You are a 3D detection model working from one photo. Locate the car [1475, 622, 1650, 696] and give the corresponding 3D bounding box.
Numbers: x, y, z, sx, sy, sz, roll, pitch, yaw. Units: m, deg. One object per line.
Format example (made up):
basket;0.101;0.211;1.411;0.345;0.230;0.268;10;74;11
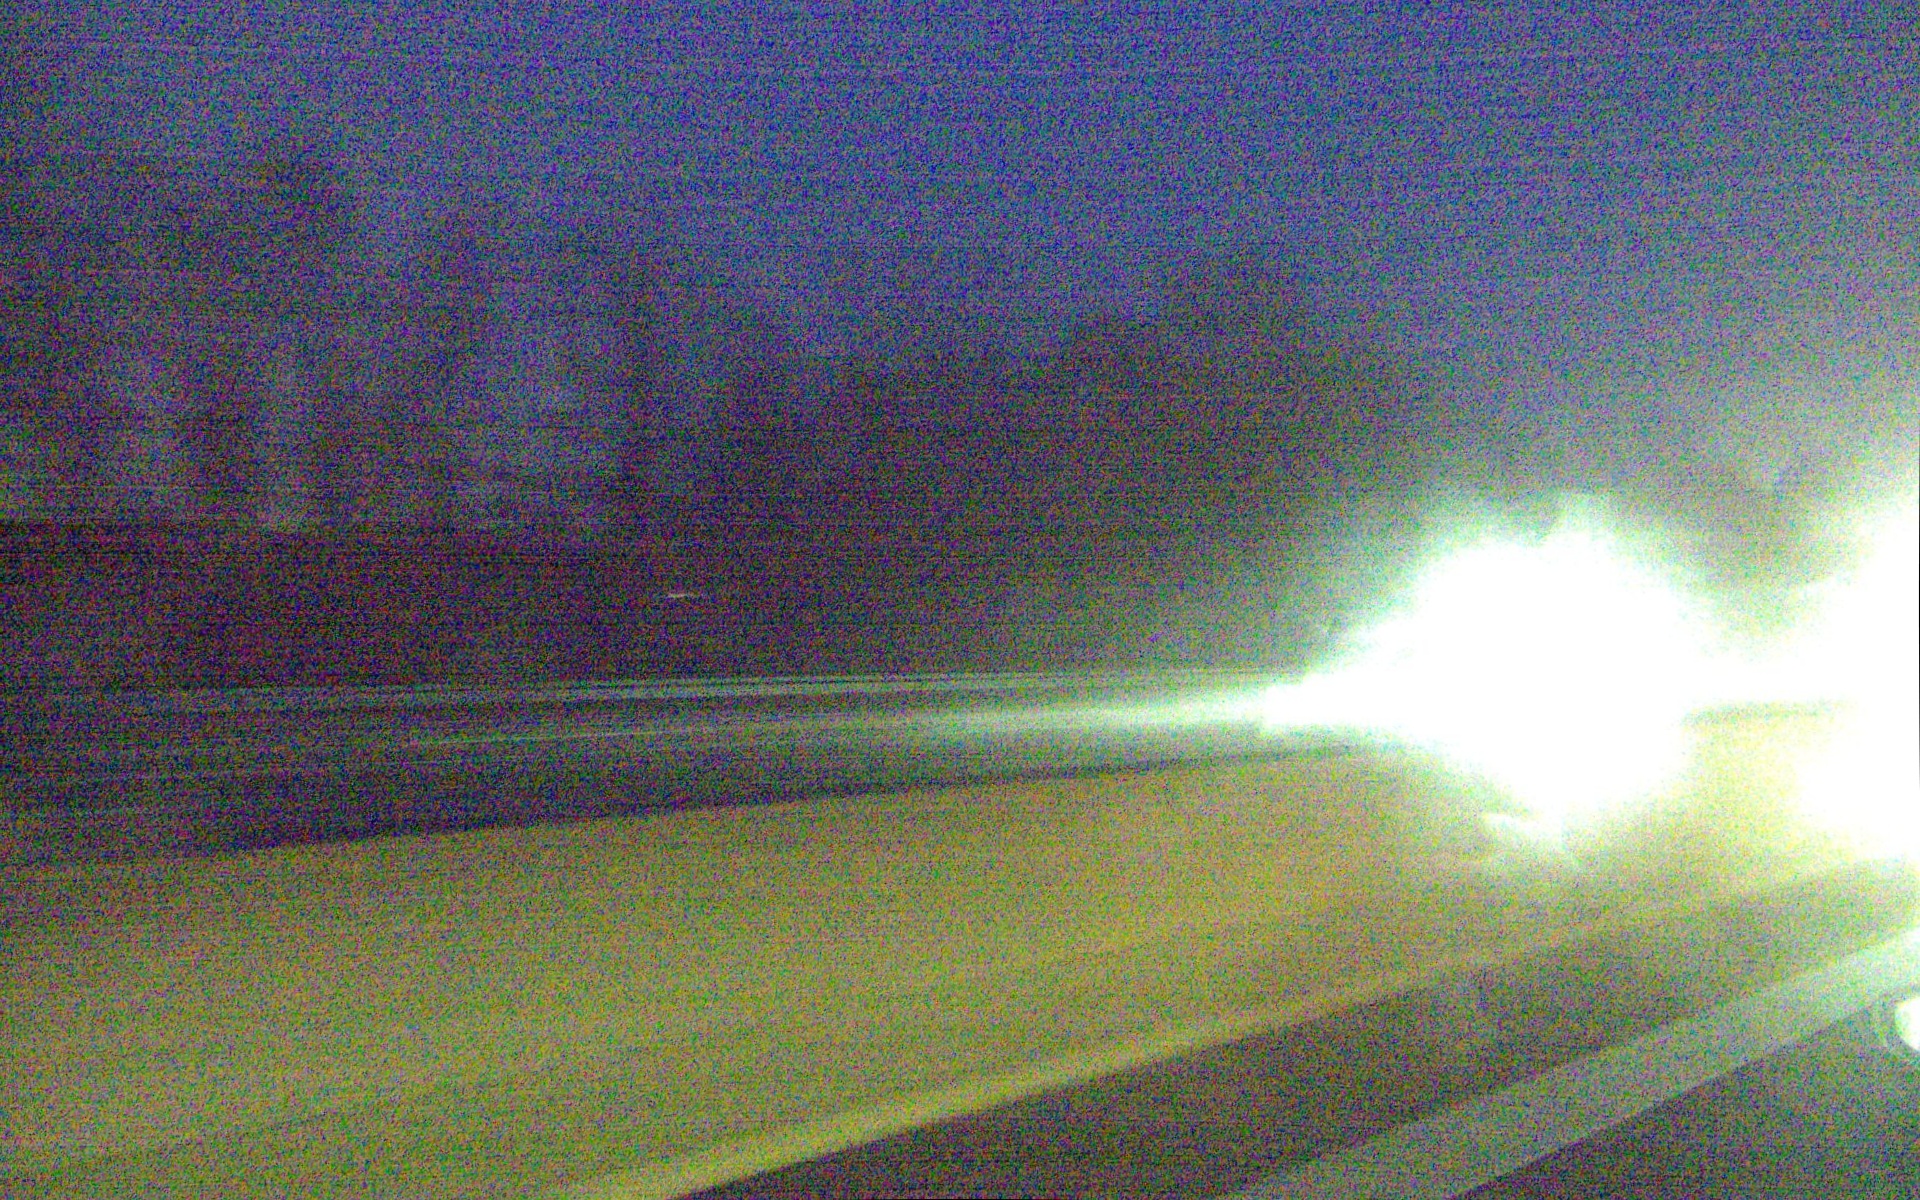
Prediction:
car;22.099;2.081;36.719;7.063;2.475;2.370;1;-3;-30
